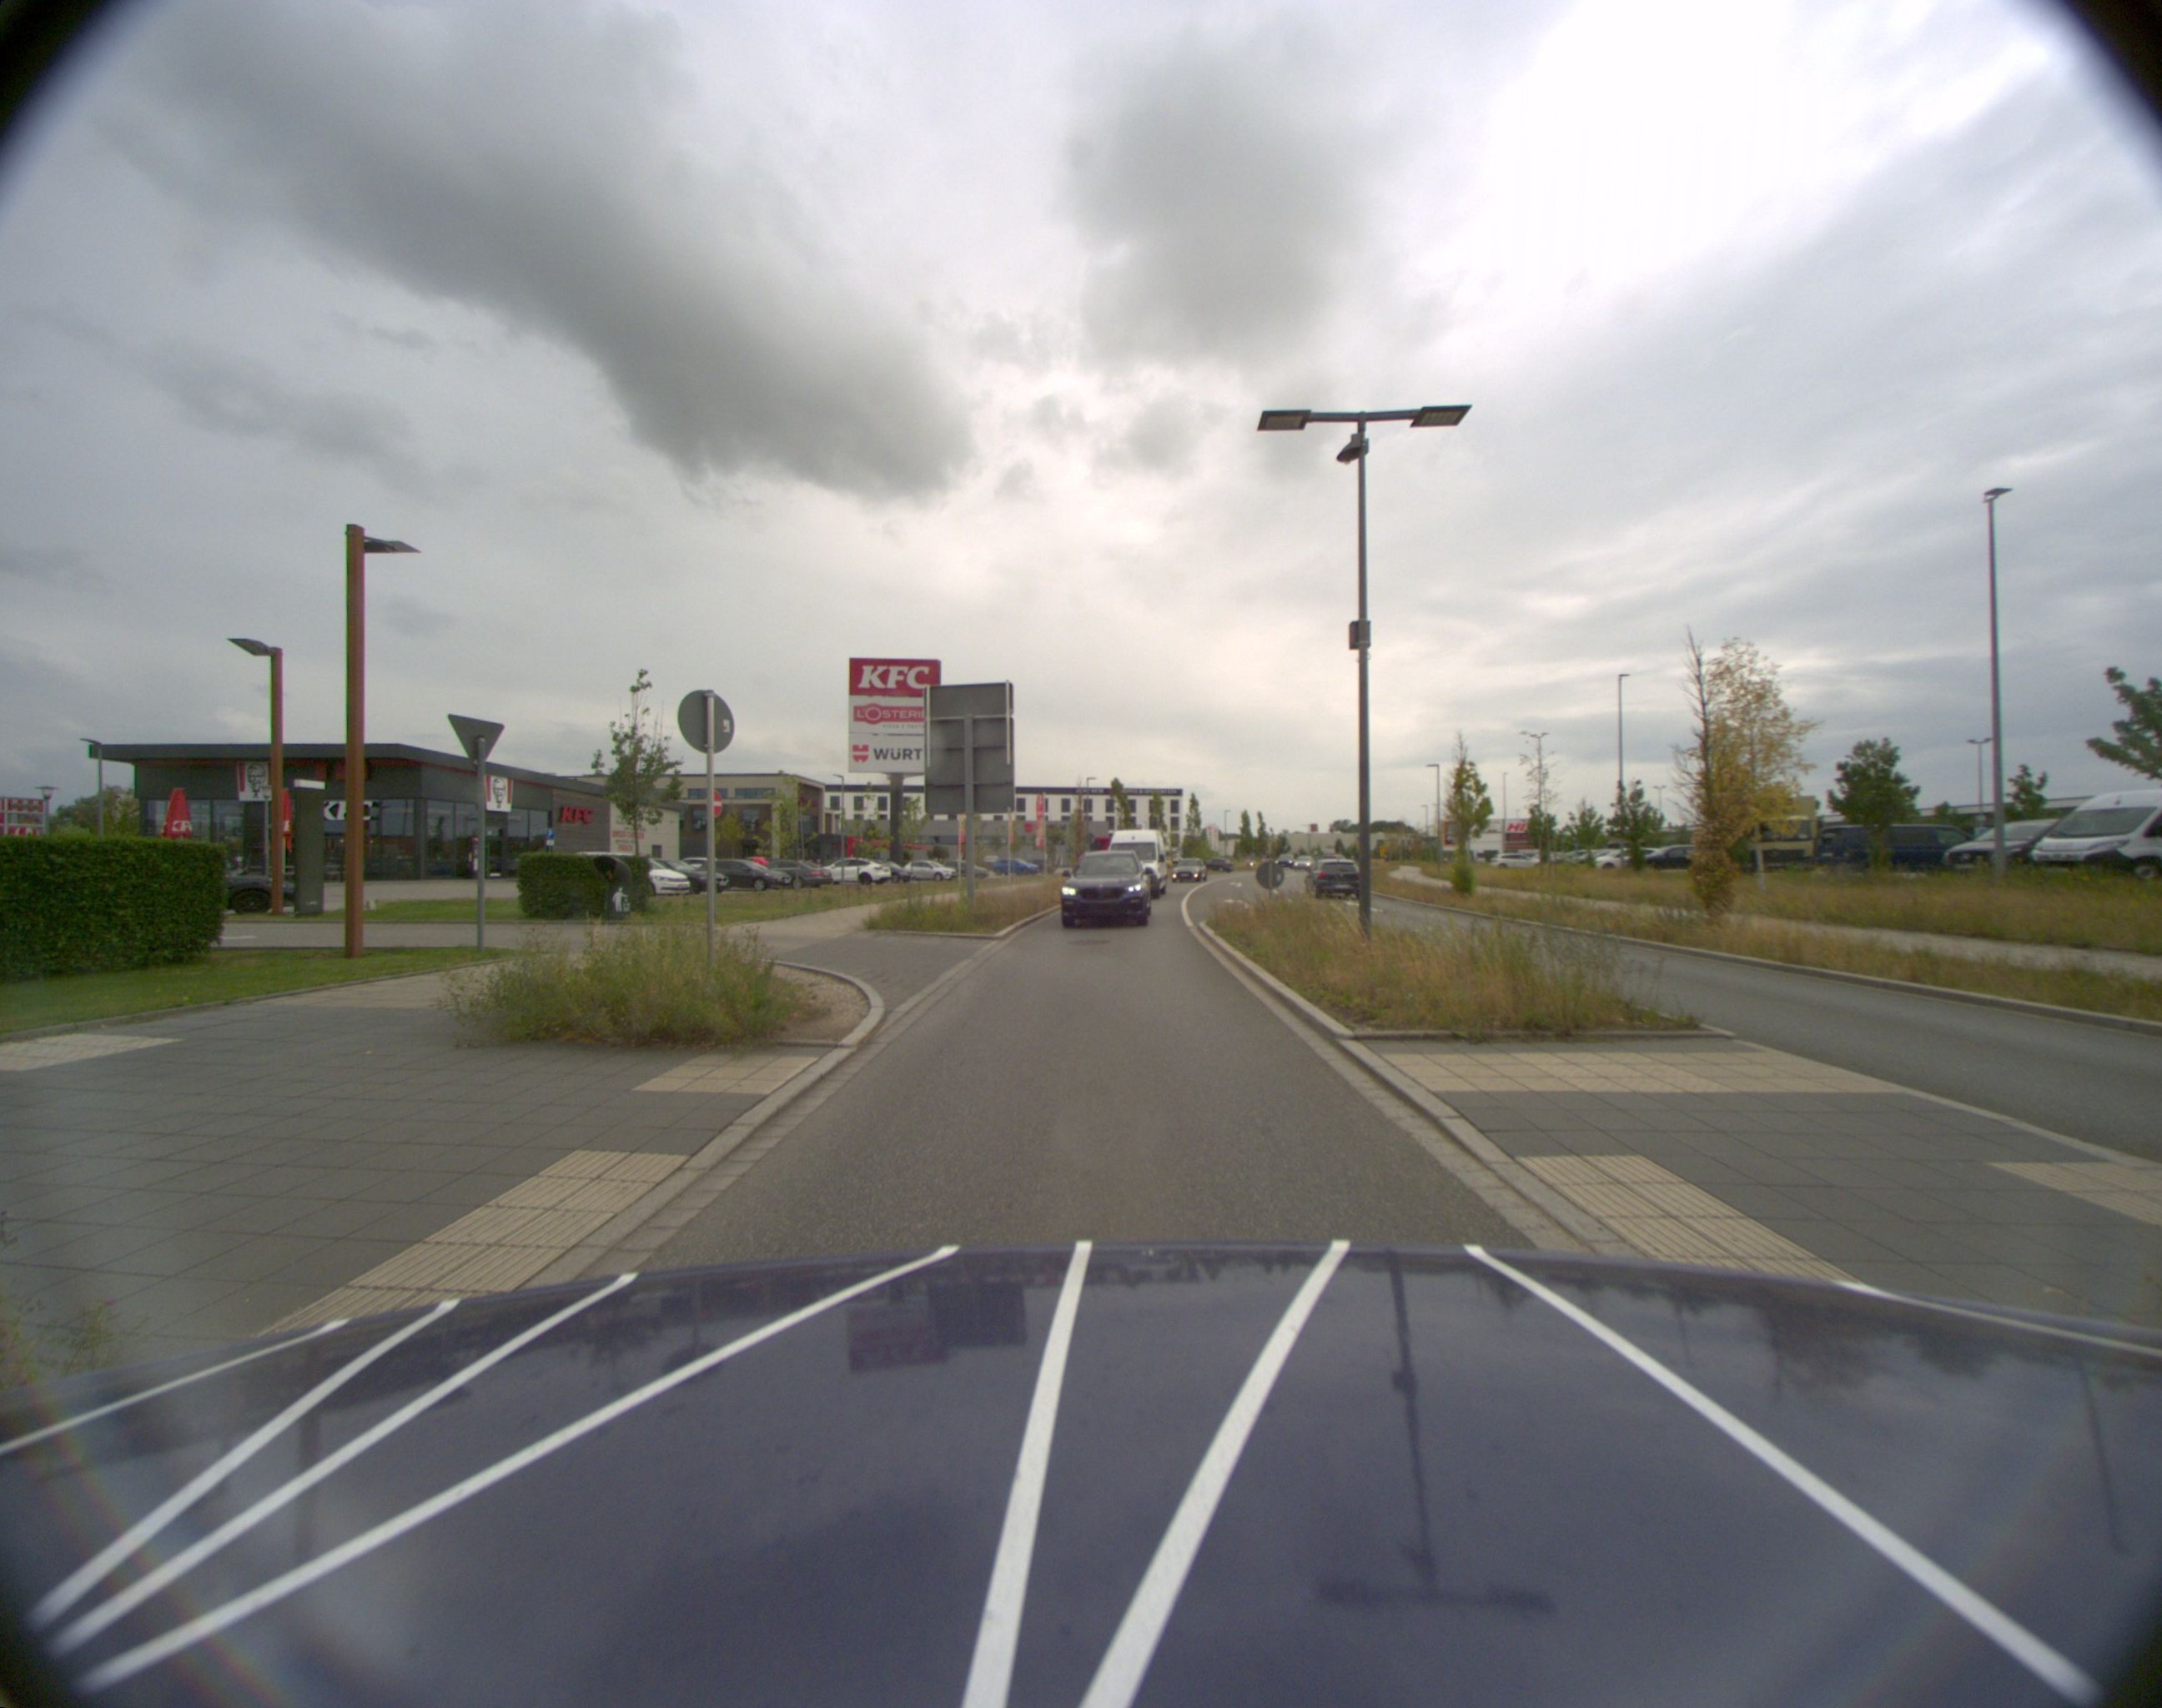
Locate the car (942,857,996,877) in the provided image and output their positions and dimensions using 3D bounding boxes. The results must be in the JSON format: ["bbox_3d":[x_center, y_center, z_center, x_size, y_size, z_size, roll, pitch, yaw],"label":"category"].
[{"bbox_3d":[-8.739,1.022,59.410,3.762,1.485,1.893,0,0,20],"label":"car"}]

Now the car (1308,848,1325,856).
[{"bbox_3d":[62.139,-0.630,200.722,4.002,2.002,1.640,-1,0,-15],"label":"car"}]

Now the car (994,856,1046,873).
[{"bbox_3d":[-5.512,0.916,68.672,4.266,1.511,1.969,-1,0,23],"label":"car"}]

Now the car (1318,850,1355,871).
[{"bbox_3d":[21.680,0.537,64.361,1.799,1.659,4.336,2,0,35],"label":"car"}]

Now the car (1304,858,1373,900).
[{"bbox_3d":[9.502,0.875,28.290,1.844,1.399,4.004,2,0,11],"label":"car"}]

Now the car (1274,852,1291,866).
[{"bbox_3d":[23.561,0.582,88.924,1.754,1.575,4.005,-1,0,17],"label":"car"}]

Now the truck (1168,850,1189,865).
[{"bbox_3d":[16.107,0.587,124.626,2.229,2.312,8.225,0,0,16],"label":"truck"}]

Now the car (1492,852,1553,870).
[{"bbox_3d":[36.573,0.556,63.041,4.183,1.460,1.889,0,1,23],"label":"car"}]

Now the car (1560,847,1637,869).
[{"bbox_3d":[36.865,0.308,54.258,4.246,1.504,2.049,-1,0,24],"label":"car"}]

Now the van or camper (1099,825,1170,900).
[{"bbox_3d":[2.194,0.316,29.497,2.262,2.601,5.701,0,0,9],"label":"van or camper"}]

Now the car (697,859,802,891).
[{"bbox_3d":[-15.507,0.966,35.624,4.092,1.429,1.944,0,0,7],"label":"car"}]

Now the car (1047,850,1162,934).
[{"bbox_3d":[0.666,0.788,17.256,1.997,1.654,4.004,-1,-1,10],"label":"car"}]

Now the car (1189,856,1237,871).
[{"bbox_3d":[12.784,0.938,73.889,4.233,1.412,1.839,-1,0,38],"label":"car"}]

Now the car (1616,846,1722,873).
[{"bbox_3d":[32.476,0.314,42.122,4.237,1.426,2.000,0,0,17],"label":"car"}]

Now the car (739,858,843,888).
[{"bbox_3d":[-14.637,0.958,38.477,4.525,1.460,2.034,0,0,8],"label":"car"}]

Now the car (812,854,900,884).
[{"bbox_3d":[-13.412,0.886,45.432,4.568,1.635,2.091,1,0,13],"label":"car"}]

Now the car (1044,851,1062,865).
[{"bbox_3d":[-3.894,0.558,106.603,2.000,1.975,4.633,0,0,-8],"label":"car"}]

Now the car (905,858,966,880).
[{"bbox_3d":[-10.531,1.067,54.933,3.865,1.473,1.905,1,1,19],"label":"car"}]

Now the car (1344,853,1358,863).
[{"bbox_3d":[49.183,0.741,138.375,1.995,1.627,4.710,2,1,23],"label":"car"}]

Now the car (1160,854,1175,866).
[{"bbox_3d":[12.320,0.811,108.119,1.765,1.676,4.416,0,0,12],"label":"car"}]

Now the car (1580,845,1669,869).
[{"bbox_3d":[35.152,0.215,49.238,4.253,1.550,1.991,0,0,14],"label":"car"}]

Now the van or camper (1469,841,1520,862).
[{"bbox_3d":[57.415,-0.325,105.670,5.860,2.783,2.246,0,1,14],"label":"van or camper"}]

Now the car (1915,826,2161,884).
[{"bbox_3d":[28.550,0.024,22.738,4.913,1.607,1.995,-1,0,2],"label":"car"}]

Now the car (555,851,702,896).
[{"bbox_3d":[-16.737,0.710,28.245,4.357,1.630,1.938,0,0,3],"label":"car"}]

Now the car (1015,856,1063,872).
[{"bbox_3d":[-3.916,0.922,70.808,3.990,1.485,1.985,-1,0,25],"label":"car"}]

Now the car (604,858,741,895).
[{"bbox_3d":[-16.455,0.904,30.754,4.477,1.428,2.075,0,0,5],"label":"car"}]

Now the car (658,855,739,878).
[{"bbox_3d":[-26.332,0.853,52.438,4.571,1.510,2.082,1,0,4],"label":"car"}]

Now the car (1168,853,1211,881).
[{"bbox_3d":[6.673,0.765,46.430,1.754,1.575,4.006,-1,0,20],"label":"car"}]

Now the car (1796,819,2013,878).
[{"bbox_3d":[29.285,-0.163,27.226,4.909,1.978,2.181,0,0,12],"label":"car"}]

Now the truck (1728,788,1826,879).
[{"bbox_3d":[30.541,-0.793,33.508,2.851,3.520,8.447,-1,0,41],"label":"truck"}]

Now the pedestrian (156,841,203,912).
[{"bbox_3d":[-23.175,0.563,19.540,0.472,1.795,0.799,-1,1,-25],"label":"pedestrian"}]

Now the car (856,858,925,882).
[{"bbox_3d":[-12.658,1.048,50.466,3.991,1.476,1.943,0,1,17],"label":"car"}]

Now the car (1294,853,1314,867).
[{"bbox_3d":[22.478,0.591,76.618,1.705,1.429,4.037,0,0,13],"label":"car"}]

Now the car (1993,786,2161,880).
[{"bbox_3d":[28.118,-0.536,19.657,6.082,2.293,2.211,-1,0,4],"label":"car"}]
